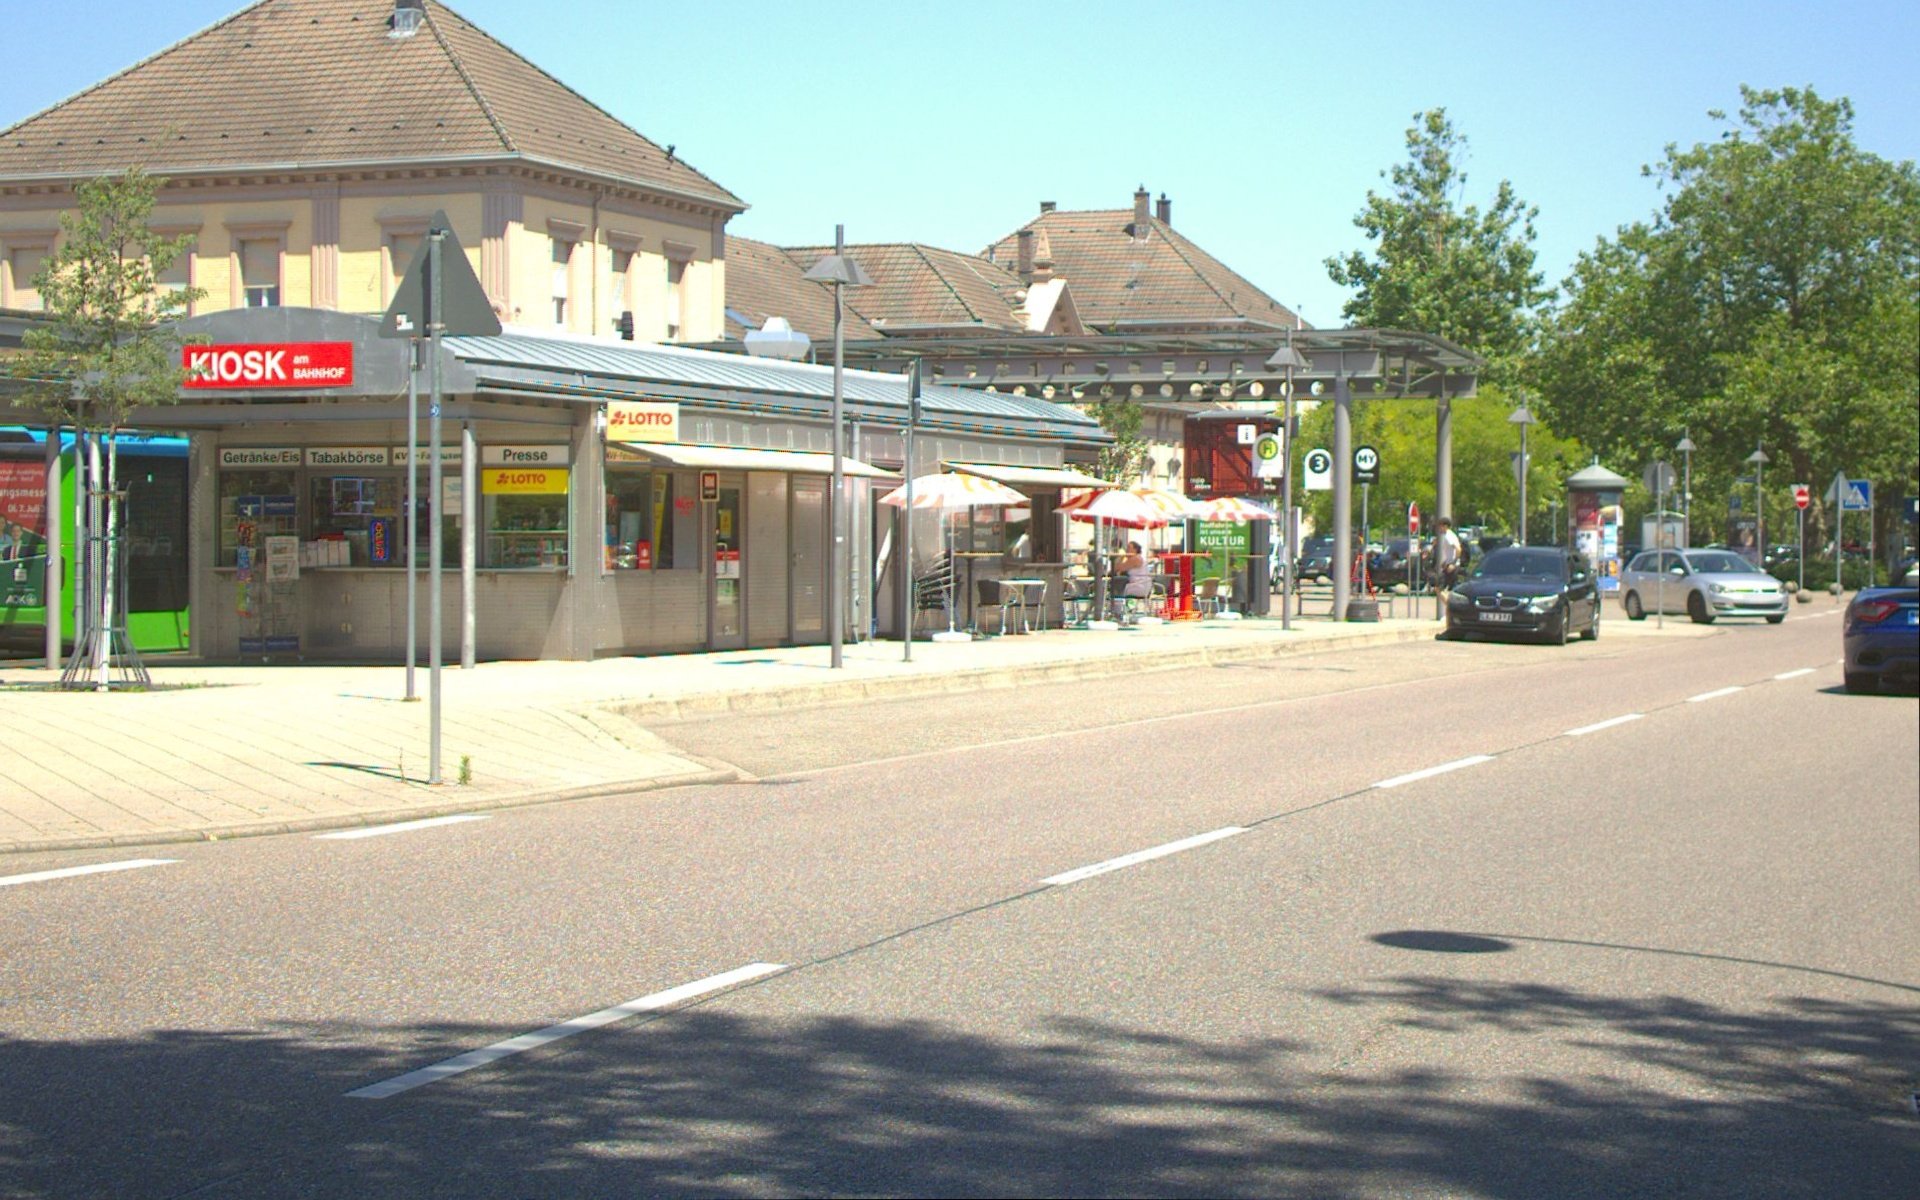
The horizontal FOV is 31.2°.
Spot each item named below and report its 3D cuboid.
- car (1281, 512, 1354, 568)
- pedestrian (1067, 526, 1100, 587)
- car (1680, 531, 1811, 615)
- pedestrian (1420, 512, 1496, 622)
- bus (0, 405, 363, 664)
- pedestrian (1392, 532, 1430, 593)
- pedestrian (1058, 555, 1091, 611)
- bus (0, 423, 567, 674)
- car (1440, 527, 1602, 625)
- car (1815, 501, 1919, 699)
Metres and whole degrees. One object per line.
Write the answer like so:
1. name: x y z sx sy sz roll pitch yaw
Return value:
1. car: 13.686 -2.318 131.424 1.995 2.006 3.997 0 3 18
2. pedestrian: 3.407 -1.186 94.925 0.655 1.667 0.631 1 -1 -25
3. car: 15.097 -0.543 65.964 1.817 1.439 4.154 -3 1 21
4. pedestrian: 8.426 -0.552 58.168 0.801 1.821 1.140 0 -1 37
5. bus: -12.823 -0.961 50.102 2.164 3.514 12.210 1 1 21
6. pedestrian: 12.379 -1.016 94.388 0.762 1.653 0.719 0 -1 38
7. pedestrian: 2.003 -0.299 60.156 0.425 0.969 0.371 0 -1 34
8. bus: -9.753 -0.710 48.522 2.677 3.030 13.879 0 1 19
9. car: 8.844 -0.393 53.911 1.720 1.473 4.781 0 1 19
10. car: 9.866 -0.015 34.023 2.127 1.842 4.043 1 1 22
